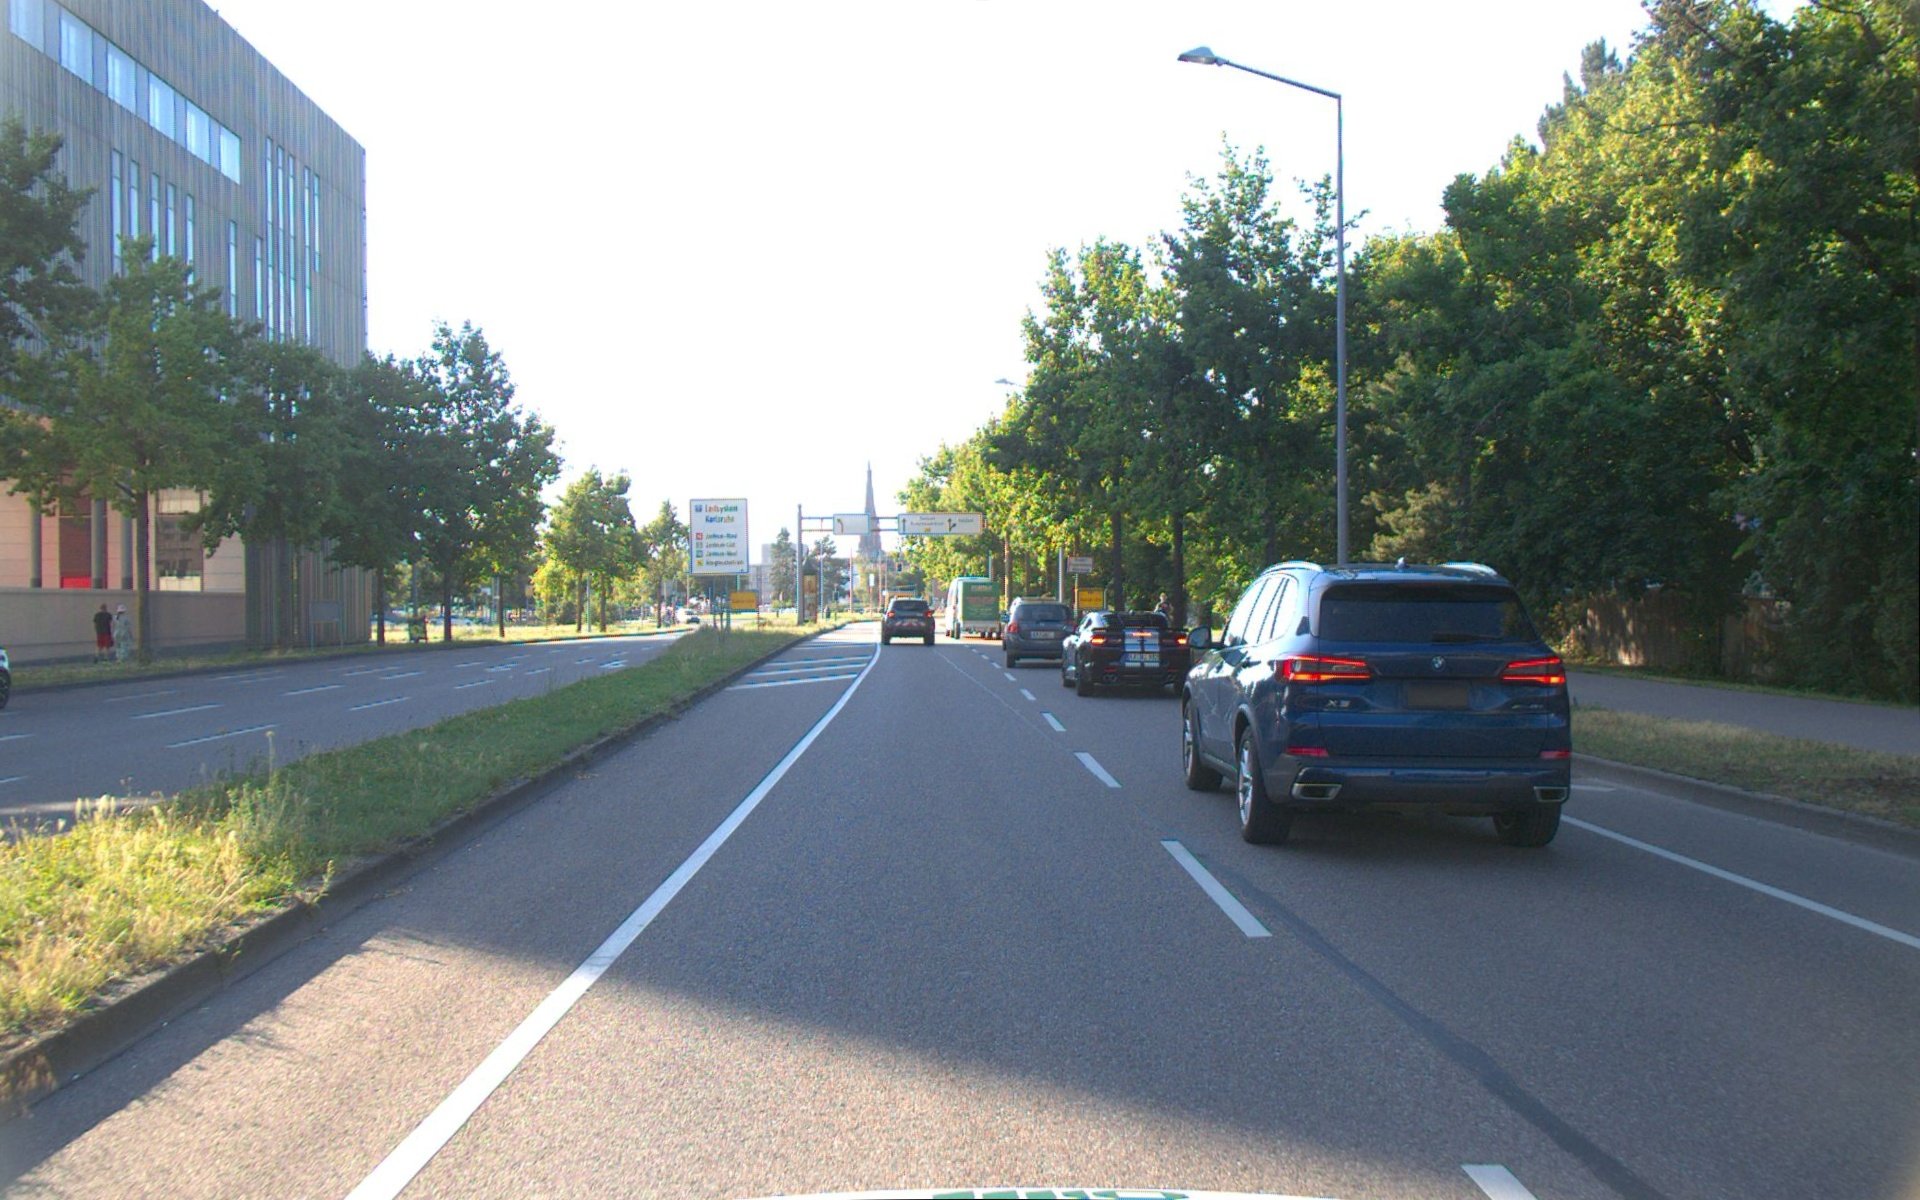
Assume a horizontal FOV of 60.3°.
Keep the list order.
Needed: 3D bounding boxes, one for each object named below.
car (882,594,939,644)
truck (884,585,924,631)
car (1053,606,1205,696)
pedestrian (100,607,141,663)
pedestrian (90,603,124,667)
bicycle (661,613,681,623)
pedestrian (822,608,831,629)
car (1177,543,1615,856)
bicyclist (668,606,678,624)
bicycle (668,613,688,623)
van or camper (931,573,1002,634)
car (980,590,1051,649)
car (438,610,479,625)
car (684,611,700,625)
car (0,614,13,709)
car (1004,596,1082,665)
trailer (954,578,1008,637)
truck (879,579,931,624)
[{"bbox_3d":[-1.772,0.660,58.376,1.867,1.689,3.997,-1,0,-4],"label":"car"},{"bbox_3d":[-3.400,0.483,99.769,2.176,2.697,4.769,-1,0,-5],"label":"truck"},{"bbox_3d":[2.719,0.785,27.632,1.817,1.361,4.622,0,0,-3],"label":"car"},{"bbox_3d":[-24.663,1.026,48.607,0.760,1.629,0.909,-1,0,-2],"label":"pedestrian"},{"bbox_3d":[-25.443,1.034,49.337,0.620,1.873,0.716,-1,0,-2],"label":"pedestrian"},{"bbox_3d":[-28.664,1.768,164.086,1.867,1.037,0.505,0,-1,12],"label":"bicycle"},{"bbox_3d":[-13.133,1.864,162.915,0.774,2.049,0.700,0,0,-9],"label":"pedestrian"},{"bbox_3d":[2.778,0.591,11.718,1.914,1.757,4.699,0,-1,1],"label":"car"},{"bbox_3d":[-28.486,1.508,164.049,0.795,1.801,0.497,0,-1,12],"label":"bicyclist"},{"bbox_3d":[-28.186,1.783,165.526,1.868,1.037,0.504,-1,0,4],"label":"bicycle"},{"bbox_3d":[0.241,0.173,76.384,2.242,2.675,6.569,0,0,-9],"label":"van or camper"},{"bbox_3d":[1.611,0.583,49.264,1.713,1.649,3.816,2,-1,-4],"label":"car"},{"bbox_3d":[-52.838,1.875,174.351,1.843,1.534,3.683,-1,0,44],"label":"car"},{"bbox_3d":[-29.496,1.975,182.322,1.532,1.602,3.408,-1,-1,-6],"label":"car"},{"bbox_3d":[-16.184,1.007,25.307,1.566,1.539,3.860,-1,0,-8],"label":"car"},{"bbox_3d":[1.894,0.672,38.499,1.711,1.499,3.820,-1,0,2],"label":"car"},{"bbox_3d":[0.870,0.319,70.268,2.048,2.442,3.499,1,0,-3],"label":"trailer"},{"bbox_3d":[-3.332,0.084,98.695,2.531,2.602,6.241,-1,0,-7],"label":"truck"}]
